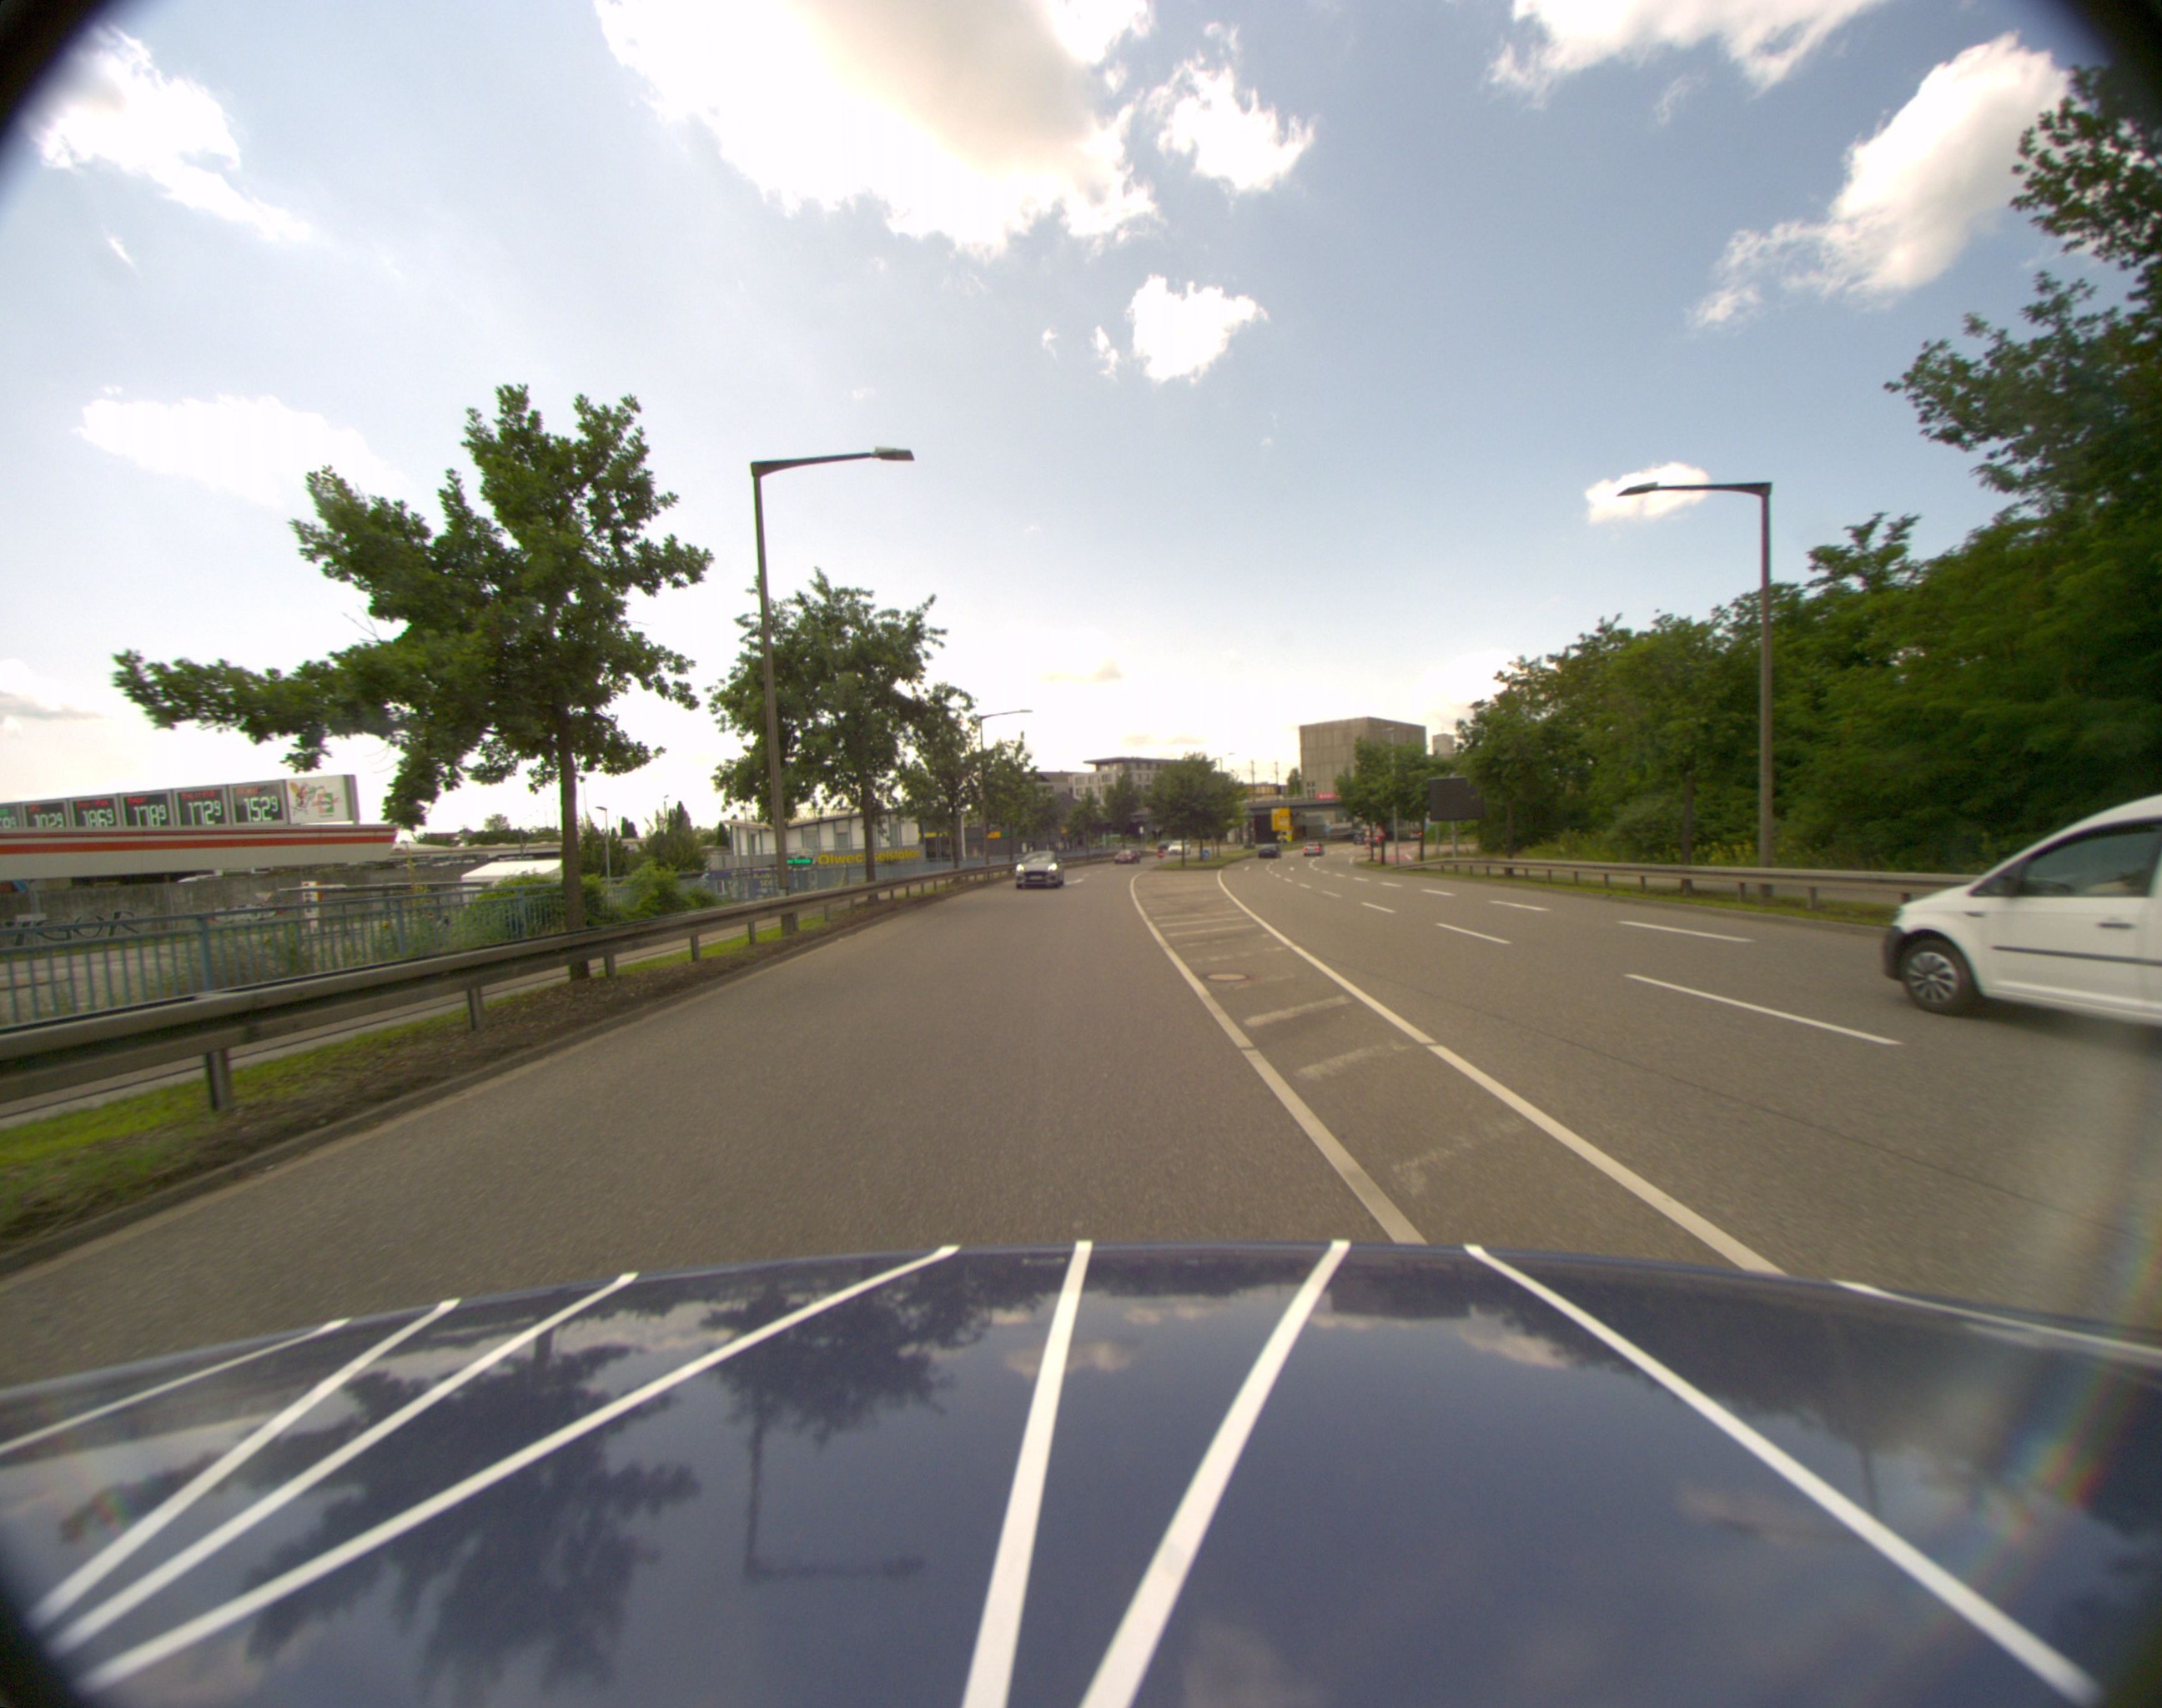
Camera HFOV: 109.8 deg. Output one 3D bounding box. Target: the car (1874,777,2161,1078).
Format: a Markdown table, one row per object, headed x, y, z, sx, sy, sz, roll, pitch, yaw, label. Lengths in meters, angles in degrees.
| x | y | z | sx | sy | sz | roll | pitch | yaw | label |
| --- | --- | --- | --- | --- | --- | --- | --- | --- | --- |
| 7.484 | 0.430 | 4.456 | 1.778 | 1.852 | 4.127 | -2 | 0 | 9 | car |

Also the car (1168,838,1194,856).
| x | y | z | sx | sy | sz | roll | pitch | yaw | label |
| --- | --- | --- | --- | --- | --- | --- | --- | --- | --- |
| 12.098 | -0.876 | 91.634 | 1.995 | 2.002 | 4.006 | 1 | 2 | 23 | car |

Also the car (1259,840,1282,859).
| x | y | z | sx | sy | sz | roll | pitch | yaw | label |
| --- | --- | --- | --- | --- | --- | --- | --- | --- | --- |
| 19.181 | -0.502 | 76.891 | 1.975 | 1.825 | 4.005 | 0 | 2 | 19 | car |

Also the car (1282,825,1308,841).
| x | y | z | sx | sy | sz | roll | pitch | yaw | label |
| --- | --- | --- | --- | --- | --- | --- | --- | --- | --- |
| 36.534 | -3.630 | 129.914 | 1.995 | 2.306 | 4.895 | -3 | 2 | 45 | car |

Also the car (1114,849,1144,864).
| x | y | z | sx | sy | sz | roll | pitch | yaw | label |
| --- | --- | --- | --- | --- | --- | --- | --- | --- | --- |
| 4.430 | 0.232 | 69.251 | 1.845 | 1.201 | 4.004 | -1 | 1 | 17 | car |

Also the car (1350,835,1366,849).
| x | y | z | sx | sy | sz | roll | pitch | yaw | label |
| --- | --- | --- | --- | --- | --- | --- | --- | --- | --- |
| 38.925 | -1.718 | 106.705 | 1.975 | 2.002 | 4.005 | 1 | 2 | 22 | car |

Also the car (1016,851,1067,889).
| x | y | z | sx | sy | sz | roll | pitch | yaw | label |
| --- | --- | --- | --- | --- | --- | --- | --- | --- | --- |
| -1.634 | 0.640 | 32.793 | 1.827 | 1.516 | 4.001 | -1 | 0 | 2 | car |

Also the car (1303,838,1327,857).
| x | y | z | sx | sy | sz | roll | pitch | yaw | label |
| --- | --- | --- | --- | --- | --- | --- | --- | --- | --- |
| 24.805 | -0.720 | 80.486 | 1.975 | 2.002 | 4.006 | 1 | 2 | 23 | car |
